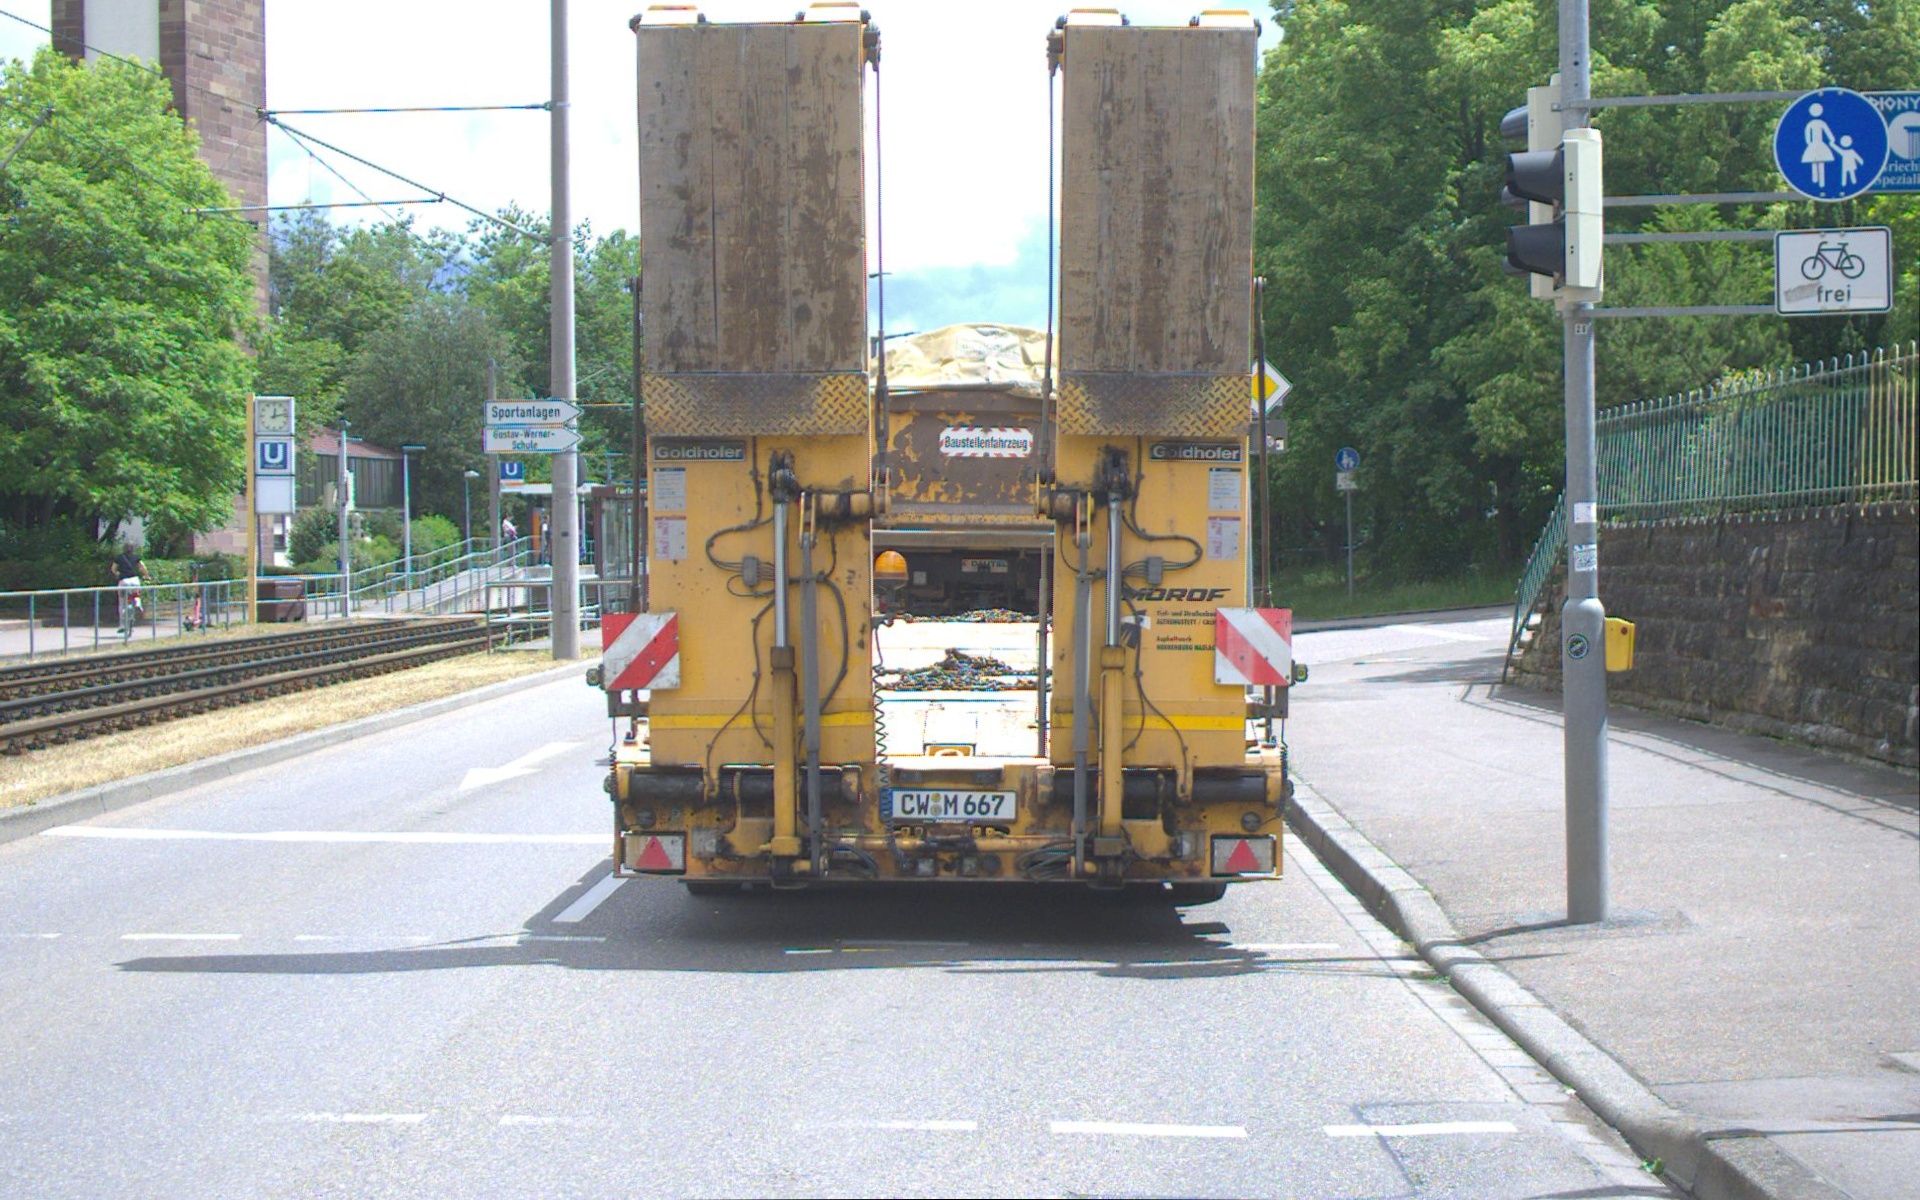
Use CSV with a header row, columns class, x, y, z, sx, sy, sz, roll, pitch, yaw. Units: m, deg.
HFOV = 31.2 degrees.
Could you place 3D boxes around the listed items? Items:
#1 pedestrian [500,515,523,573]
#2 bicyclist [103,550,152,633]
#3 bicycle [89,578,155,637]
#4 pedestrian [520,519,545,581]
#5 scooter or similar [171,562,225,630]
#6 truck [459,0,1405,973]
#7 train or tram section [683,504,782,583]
class,x,y,z,sx,sy,sz,roll,pitch,yaw
pedestrian,-13.954,-1.746,106.921,0.584,1.771,0.576,1,0,1
bicyclist,-14.509,-0.149,59.949,0.633,1.424,0.790,1,0,1
bicycle,-14.505,0.124,59.559,0.637,0.990,1.928,1,1,1
pedestrian,-13.920,-1.638,112.001,0.712,2.007,0.732,1,0,-1
scooter or similar,-14.380,-0.088,64.903,0.649,1.233,1.401,1,1,2
truck,-0.267,-0.600,19.327,3.402,3.719,13.739,0,1,-1
train or tram section,-10.596,-2.629,162.429,3.108,3.453,18.826,1,1,1
